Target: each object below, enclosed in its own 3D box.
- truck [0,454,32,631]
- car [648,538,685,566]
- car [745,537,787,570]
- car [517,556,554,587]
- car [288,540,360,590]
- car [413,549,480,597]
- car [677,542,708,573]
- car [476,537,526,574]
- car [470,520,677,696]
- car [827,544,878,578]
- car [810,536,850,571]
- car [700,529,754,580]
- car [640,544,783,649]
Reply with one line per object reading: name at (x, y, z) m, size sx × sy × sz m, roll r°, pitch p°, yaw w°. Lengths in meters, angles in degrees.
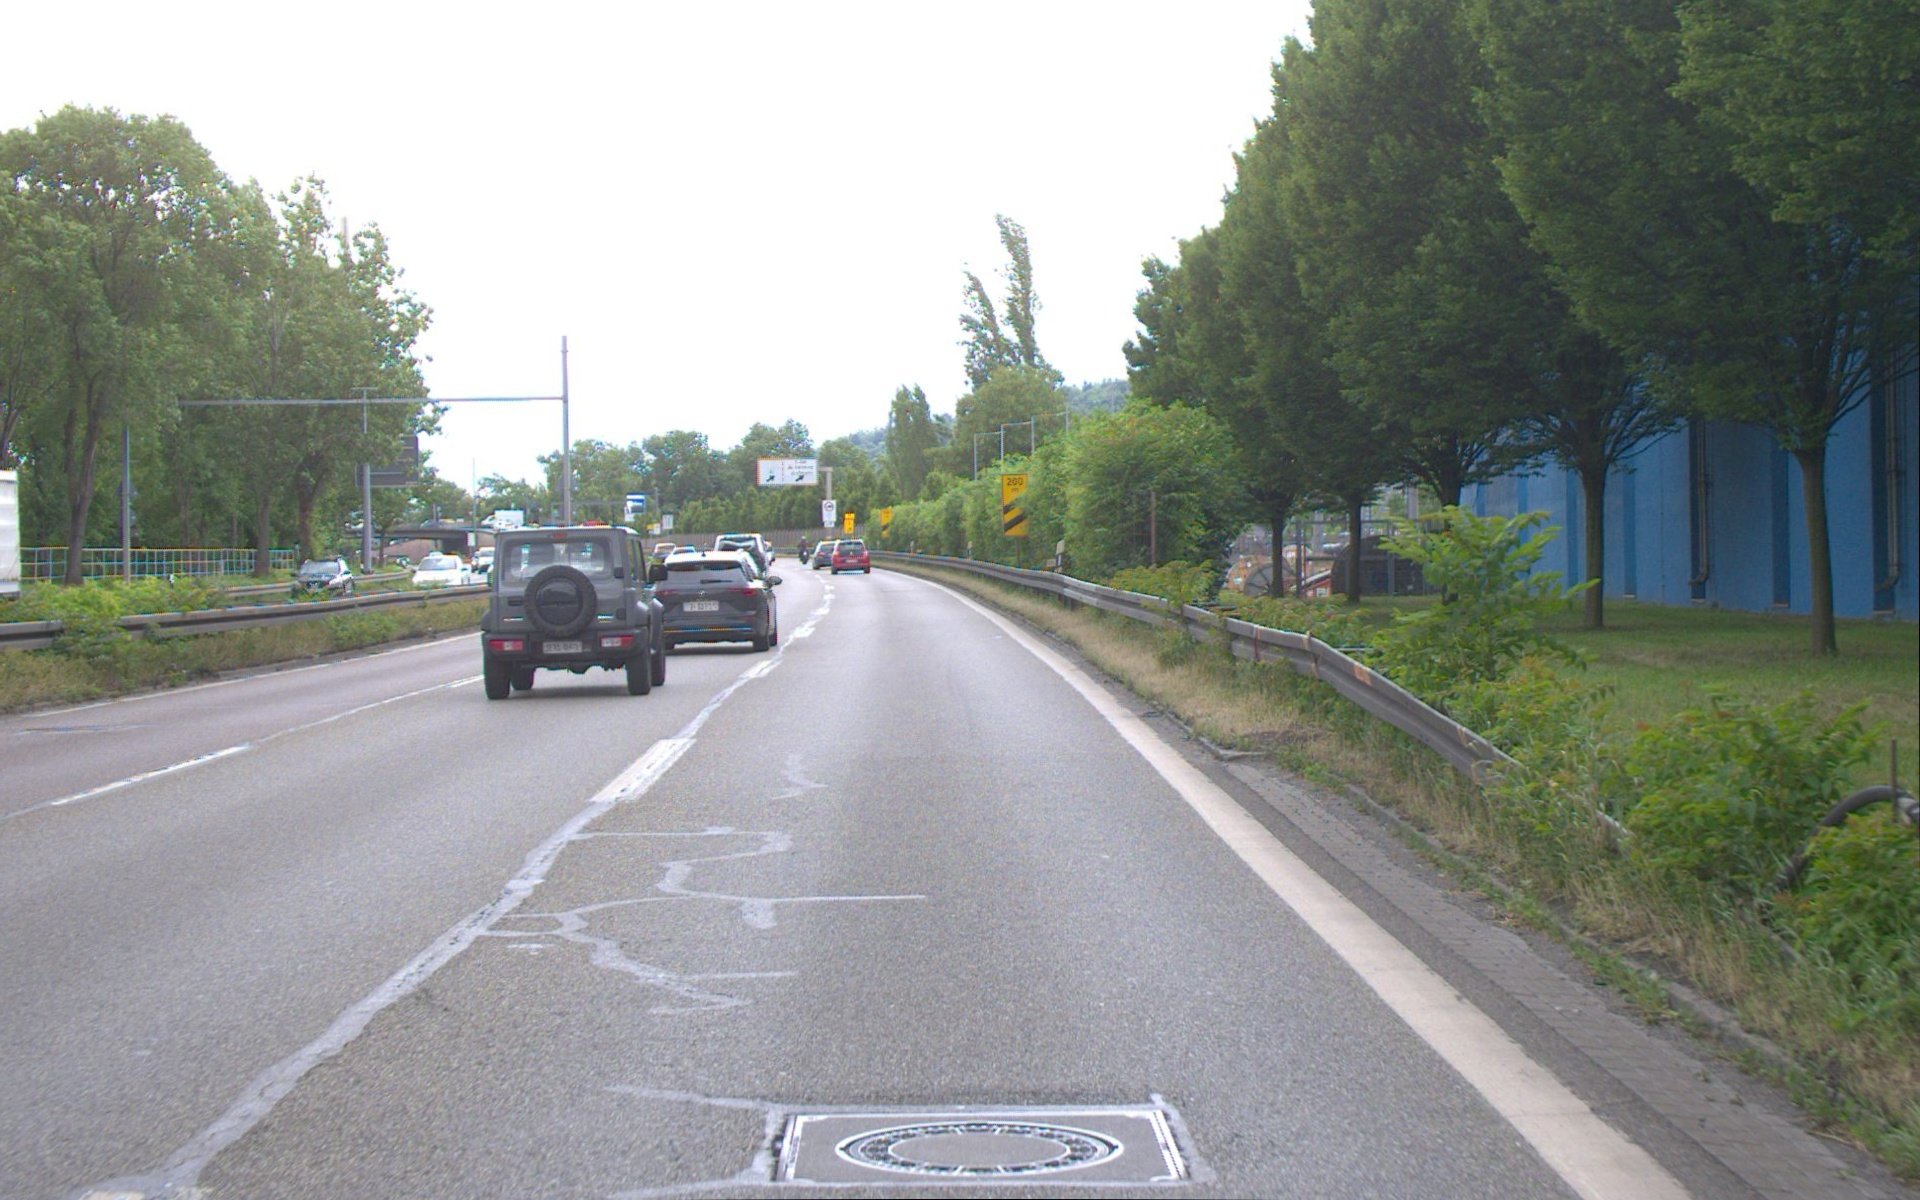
truck at (-20.688, -1.105, 67.047) m, size 2.889 × 3.566 × 9.588 m, roll -2°, pitch 1°, yaw -3°
car at (-21.204, -3.433, 248.107) m, size 2.013 × 1.927 × 4.902 m, roll -2°, pitch 1°, yaw -12°
car at (-11.879, -2.811, 210.213) m, size 2.013 × 1.927 × 4.902 m, roll -2°, pitch 1°, yaw -9°
car at (-24.878, -1.683, 201.483) m, size 1.726 × 1.768 × 3.742 m, roll -2°, pitch 1°, yaw -1°
car at (-22.226, -1.234, 120.210) m, size 1.726 × 1.599 × 4.042 m, roll -3°, pitch 1°, yaw -1°
car at (-18.540, -0.993, 124.174) m, size 1.697 × 1.599 × 4.539 m, roll -3°, pitch 1°, yaw -1°
car at (-15.910, -2.535, 204.438) m, size 1.697 × 1.736 × 4.394 m, roll -2°, pitch 1°, yaw -5°
car at (-22.219, -2.159, 166.400) m, size 1.866 × 1.669 × 4.719 m, roll -2°, pitch 1°, yaw -2°
car at (-3.903, 0.033, 35.261) m, size 1.697 × 1.680 × 4.000 m, roll 0°, pitch 1°, yaw -1°
car at (-4.850, -1.772, 154.649) m, size 1.974 × 1.418 × 4.901 m, roll -2°, pitch 1°, yaw -5°
car at (-6.686, -2.382, 176.484) m, size 1.697 × 1.736 × 4.394 m, roll -1°, pitch 1°, yaw -7°
car at (-8.150, -1.597, 120.713) m, size 1.697 × 1.736 × 4.000 m, roll -1°, pitch 1°, yaw -2°
car at (-3.551, -0.089, 49.852) m, size 1.845 × 1.418 × 4.901 m, roll -1°, pitch 1°, yaw -2°
